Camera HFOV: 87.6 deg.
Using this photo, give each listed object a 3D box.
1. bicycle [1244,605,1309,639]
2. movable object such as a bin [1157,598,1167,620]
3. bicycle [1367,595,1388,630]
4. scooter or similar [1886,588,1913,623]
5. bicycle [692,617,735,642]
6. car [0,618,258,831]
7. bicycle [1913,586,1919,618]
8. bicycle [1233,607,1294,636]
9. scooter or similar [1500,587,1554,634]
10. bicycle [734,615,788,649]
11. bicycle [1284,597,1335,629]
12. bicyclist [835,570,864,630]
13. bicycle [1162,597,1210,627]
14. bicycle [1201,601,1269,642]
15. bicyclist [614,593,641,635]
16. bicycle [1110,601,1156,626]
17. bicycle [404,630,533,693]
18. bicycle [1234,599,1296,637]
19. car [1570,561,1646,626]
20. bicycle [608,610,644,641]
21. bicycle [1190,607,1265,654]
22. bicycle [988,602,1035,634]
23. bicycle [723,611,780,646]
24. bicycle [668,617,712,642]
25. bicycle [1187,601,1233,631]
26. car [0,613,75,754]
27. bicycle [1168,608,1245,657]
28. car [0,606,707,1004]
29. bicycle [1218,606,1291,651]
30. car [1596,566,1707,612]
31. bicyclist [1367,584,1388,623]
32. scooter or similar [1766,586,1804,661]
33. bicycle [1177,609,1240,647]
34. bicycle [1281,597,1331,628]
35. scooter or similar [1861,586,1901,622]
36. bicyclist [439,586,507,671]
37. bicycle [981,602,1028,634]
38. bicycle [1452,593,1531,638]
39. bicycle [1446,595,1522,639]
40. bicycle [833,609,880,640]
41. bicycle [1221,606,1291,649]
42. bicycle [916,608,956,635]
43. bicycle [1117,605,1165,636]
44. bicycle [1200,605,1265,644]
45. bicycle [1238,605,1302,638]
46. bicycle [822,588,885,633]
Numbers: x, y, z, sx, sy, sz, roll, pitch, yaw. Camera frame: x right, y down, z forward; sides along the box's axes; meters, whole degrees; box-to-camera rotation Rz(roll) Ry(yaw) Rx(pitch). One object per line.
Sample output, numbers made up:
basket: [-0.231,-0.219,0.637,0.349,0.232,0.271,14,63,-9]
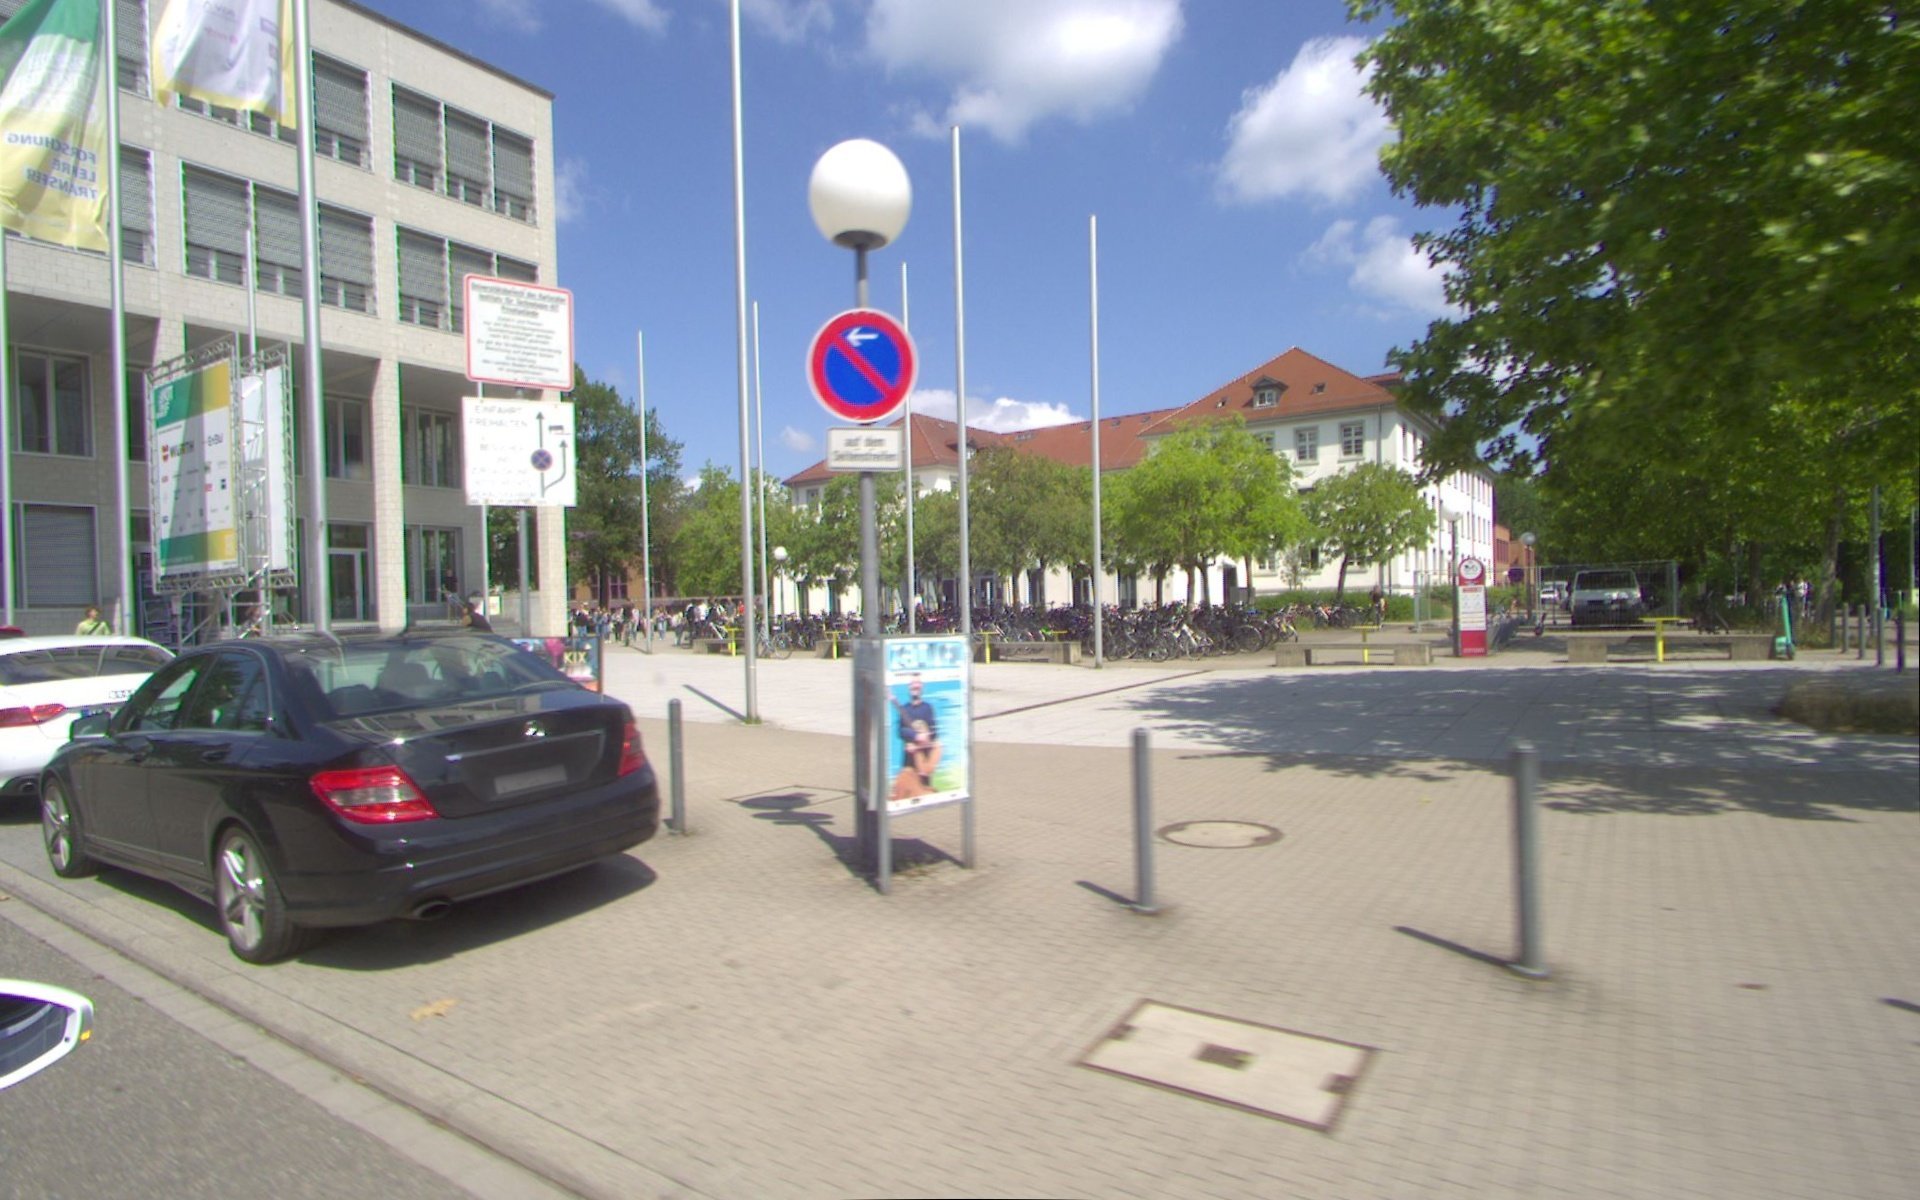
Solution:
bicycle: [9.349,0.640,29.639,1.733,0.967,0.604,-1,0,4]
movable object such as a bin: [10.036,0.438,49.667,0.383,1.069,0.366,0,2,30]
bicycle: [14.380,0.415,34.473,0.598,1.153,1.582,0,1,26]
scooter or similar: [31.847,0.179,33.935,1.558,1.185,0.525,0,1,-42]
bicycle: [-8.557,1.017,34.806,0.511,0.803,1.763,-1,0,22]
car: [-8.265,0.952,9.032,4.379,1.419,1.712,-1,3,35]
bicycle: [35.741,0.070,36.837,0.631,1.206,2.106,1,1,34]
bicycle: [9.472,0.668,31.249,1.733,0.880,0.484,-1,0,4]
scooter or similar: [15.994,0.300,28.257,1.276,1.250,0.280,-2,2,21]
bicycle: [-7.037,1.131,35.486,1.733,1.113,0.604,-3,0,4]
bicycle: [13.487,0.497,38.705,1.733,1.113,0.516,-3,0,4]
bicyclist: [-3.487,0.007,31.705,0.747,1.869,0.662,-3,0,1]
bicycle: [9.059,0.493,40.182,1.733,1.113,0.604,-3,0,4]
bicycle: [7.761,0.597,28.315,1.733,1.113,0.604,-1,1,4]
bicyclist: [-12.910,0.546,38.861,0.669,1.590,0.879,0,2,5]
bicycle: [6.977,0.540,40.369,1.733,0.881,0.604,-3,0,4]
bicycle: [-9.378,1.155,19.144,2.114,1.093,0.902,0,2,14]
bicycle: [9.699,0.579,31.866,1.733,1.113,0.604,-3,0,4]
car: [20.762,-0.211,32.230,1.877,1.889,4.915,-2,0,32]
bicycle: [-12.908,0.973,38.778,0.669,1.153,1.691,0,1,5]
bicycle: [6.871,0.789,25.741,1.733,1.113,0.604,-3,0,4]
bicycle: [1.979,0.688,38.495,1.733,1.113,0.604,-3,0,4]
bicycle: [-7.086,0.966,34.029,1.733,1.113,0.604,-3,0,4]
bicycle: [-9.518,1.040,35.376,0.511,0.803,1.763,-1,0,22]
bicycle: [10.289,0.663,41.241,1.733,1.113,0.604,-3,0,4]
car: [-12.376,0.976,12.089,4.092,1.517,1.608,-1,3,36]
bicycle: [6.165,0.815,25.116,1.733,1.113,0.604,-3,0,4]
car: [-3.817,0.832,5.867,4.882,1.419,1.712,-1,2,35]
bicycle: [7.882,0.754,26.828,1.733,1.113,0.604,-3,0,4]
car: [30.938,-0.473,44.948,3.945,1.806,1.989,-4,-1,32]
bicyclist: [14.372,0.105,34.458,0.598,1.338,0.739,0,2,26]
scooter or similar: [13.498,0.371,16.398,0.349,1.180,1.185,-3,0,35]
bicycle: [7.473,0.834,30.171,1.733,1.113,0.604,-1,0,4]
bicycle: [13.574,0.504,39.318,1.733,1.113,0.593,-3,0,4]
scooter or similar: [33.031,0.133,35.928,1.267,1.263,0.528,0,1,-21]
bicyclist: [-9.291,0.538,19.116,0.916,1.585,0.662,-1,1,14]
bicycle: [1.679,0.689,37.650,1.733,1.113,0.604,-3,0,4]
bicycle: [14.385,0.426,27.122,1.733,1.113,0.604,-3,0,4]
bicycle: [14.536,0.463,27.811,1.733,1.113,0.604,-3,0,4]
bicycle: [-4.049,0.972,39.227,1.733,1.113,0.604,-3,0,4]
bicycle: [8.146,0.754,27.634,1.733,1.113,0.604,-1,0,4]
bicycle: [-1.078,0.982,45.015,1.733,1.113,0.604,-3,0,4]
bicycle: [7.123,0.799,39.411,1.733,1.113,0.604,-3,0,4]
bicycle: [7.893,0.707,29.050,1.733,1.113,0.604,-1,0,4]
bicycle: [9.410,0.651,30.443,1.733,0.967,0.604,-1,0,4]
bicycle: [-3.376,0.344,31.740,1.838,1.313,0.662,-3,0,2]
